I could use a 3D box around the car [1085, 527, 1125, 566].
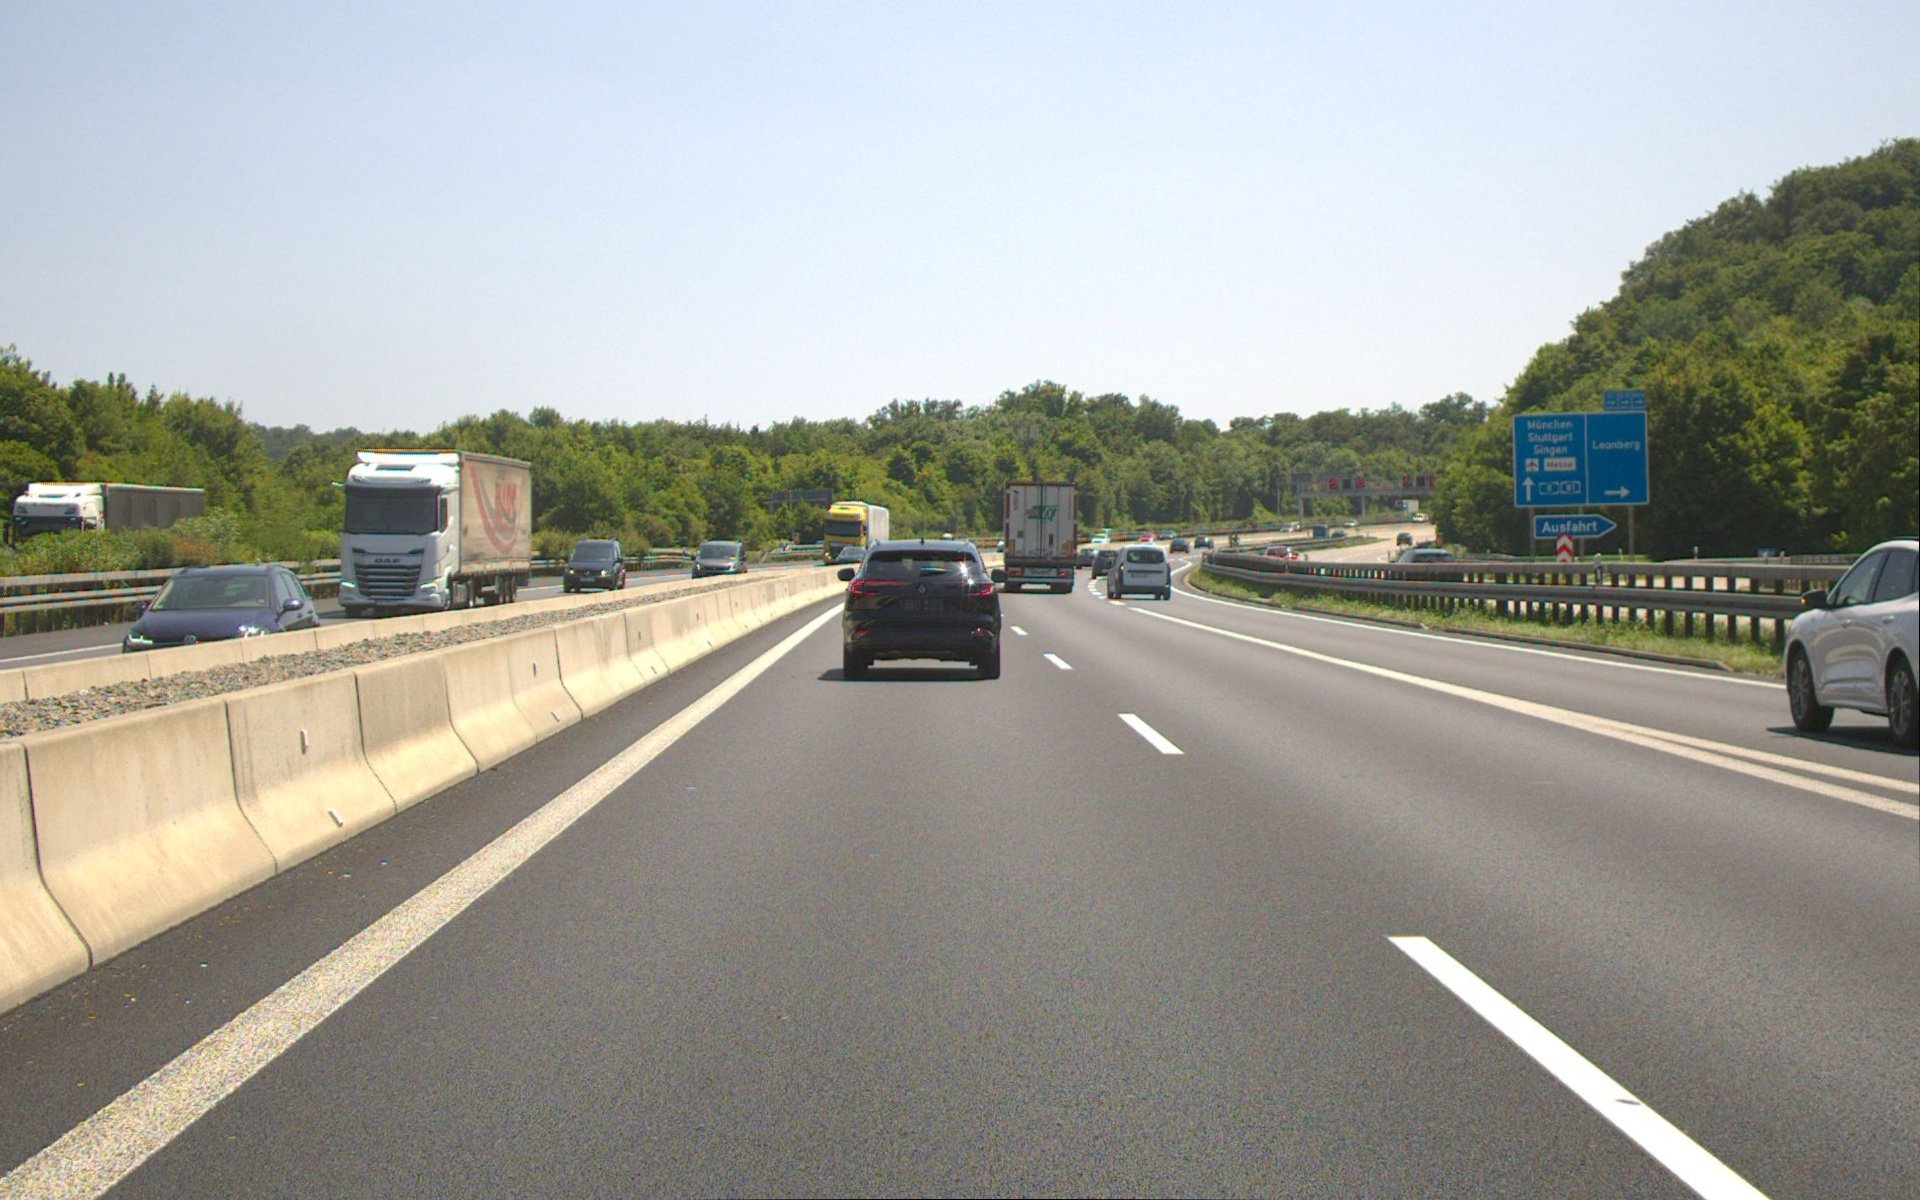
[{"bbox_3d":[7.669,-2.809,181.880,1.994,2.007,3.999,1,1,4],"label":"car"}]

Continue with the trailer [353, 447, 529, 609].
[{"bbox_3d":[-13.744,-1.866,92.067,2.910,4.031,12.064,1,1,0],"label":"trailer"}]

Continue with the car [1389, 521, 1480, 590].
[{"bbox_3d":[14.355,-1.351,104.134,1.993,2.007,4.001,-1,1,-2],"label":"car"}]

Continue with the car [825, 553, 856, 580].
[{"bbox_3d":[-6.914,-1.958,199.116,1.728,1.531,4.614,1,1,-2],"label":"car"}]

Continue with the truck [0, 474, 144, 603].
[{"bbox_3d":[-28.961,-1.987,111.948,3.220,4.031,6.640,1,1,0],"label":"truck"}]

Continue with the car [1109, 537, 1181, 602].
[{"bbox_3d":[6.104,-1.022,113.754,1.993,2.007,4.000,-2,1,-1],"label":"car"}]

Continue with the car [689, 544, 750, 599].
[{"bbox_3d":[-9.131,-1.087,130.586,2.051,2.007,4.955,1,1,-1],"label":"car"}]

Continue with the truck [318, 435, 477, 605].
[{"bbox_3d":[-13.624,-1.913,83.737,2.928,3.959,5.898,1,1,-1],"label":"truck"}]

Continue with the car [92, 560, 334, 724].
[{"bbox_3d":[-8.842,0.443,41.083,1.983,1.820,4.827,1,1,-2],"label":"car"}]

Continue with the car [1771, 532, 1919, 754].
[{"bbox_3d":[8.107,0.309,27.604,1.993,1.656,4.468,1,1,-2],"label":"car"}]

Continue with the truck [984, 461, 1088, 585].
[{"bbox_3d":[2.934,-2.805,128.737,3.032,4.403,12.016,1,1,5],"label":"truck"}]

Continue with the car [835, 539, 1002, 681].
[{"bbox_3d":[-0.538,0.088,40.570,1.779,1.572,4.001,1,1,-3],"label":"car"}]

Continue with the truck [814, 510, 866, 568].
[{"bbox_3d":[-7.915,-4.016,227.126,2.750,3.741,4.865,1,1,6],"label":"truck"}]

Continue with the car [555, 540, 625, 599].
[{"bbox_3d":[-12.802,-1.061,119.238,1.993,2.007,4.485,1,1,-1],"label":"car"}]
